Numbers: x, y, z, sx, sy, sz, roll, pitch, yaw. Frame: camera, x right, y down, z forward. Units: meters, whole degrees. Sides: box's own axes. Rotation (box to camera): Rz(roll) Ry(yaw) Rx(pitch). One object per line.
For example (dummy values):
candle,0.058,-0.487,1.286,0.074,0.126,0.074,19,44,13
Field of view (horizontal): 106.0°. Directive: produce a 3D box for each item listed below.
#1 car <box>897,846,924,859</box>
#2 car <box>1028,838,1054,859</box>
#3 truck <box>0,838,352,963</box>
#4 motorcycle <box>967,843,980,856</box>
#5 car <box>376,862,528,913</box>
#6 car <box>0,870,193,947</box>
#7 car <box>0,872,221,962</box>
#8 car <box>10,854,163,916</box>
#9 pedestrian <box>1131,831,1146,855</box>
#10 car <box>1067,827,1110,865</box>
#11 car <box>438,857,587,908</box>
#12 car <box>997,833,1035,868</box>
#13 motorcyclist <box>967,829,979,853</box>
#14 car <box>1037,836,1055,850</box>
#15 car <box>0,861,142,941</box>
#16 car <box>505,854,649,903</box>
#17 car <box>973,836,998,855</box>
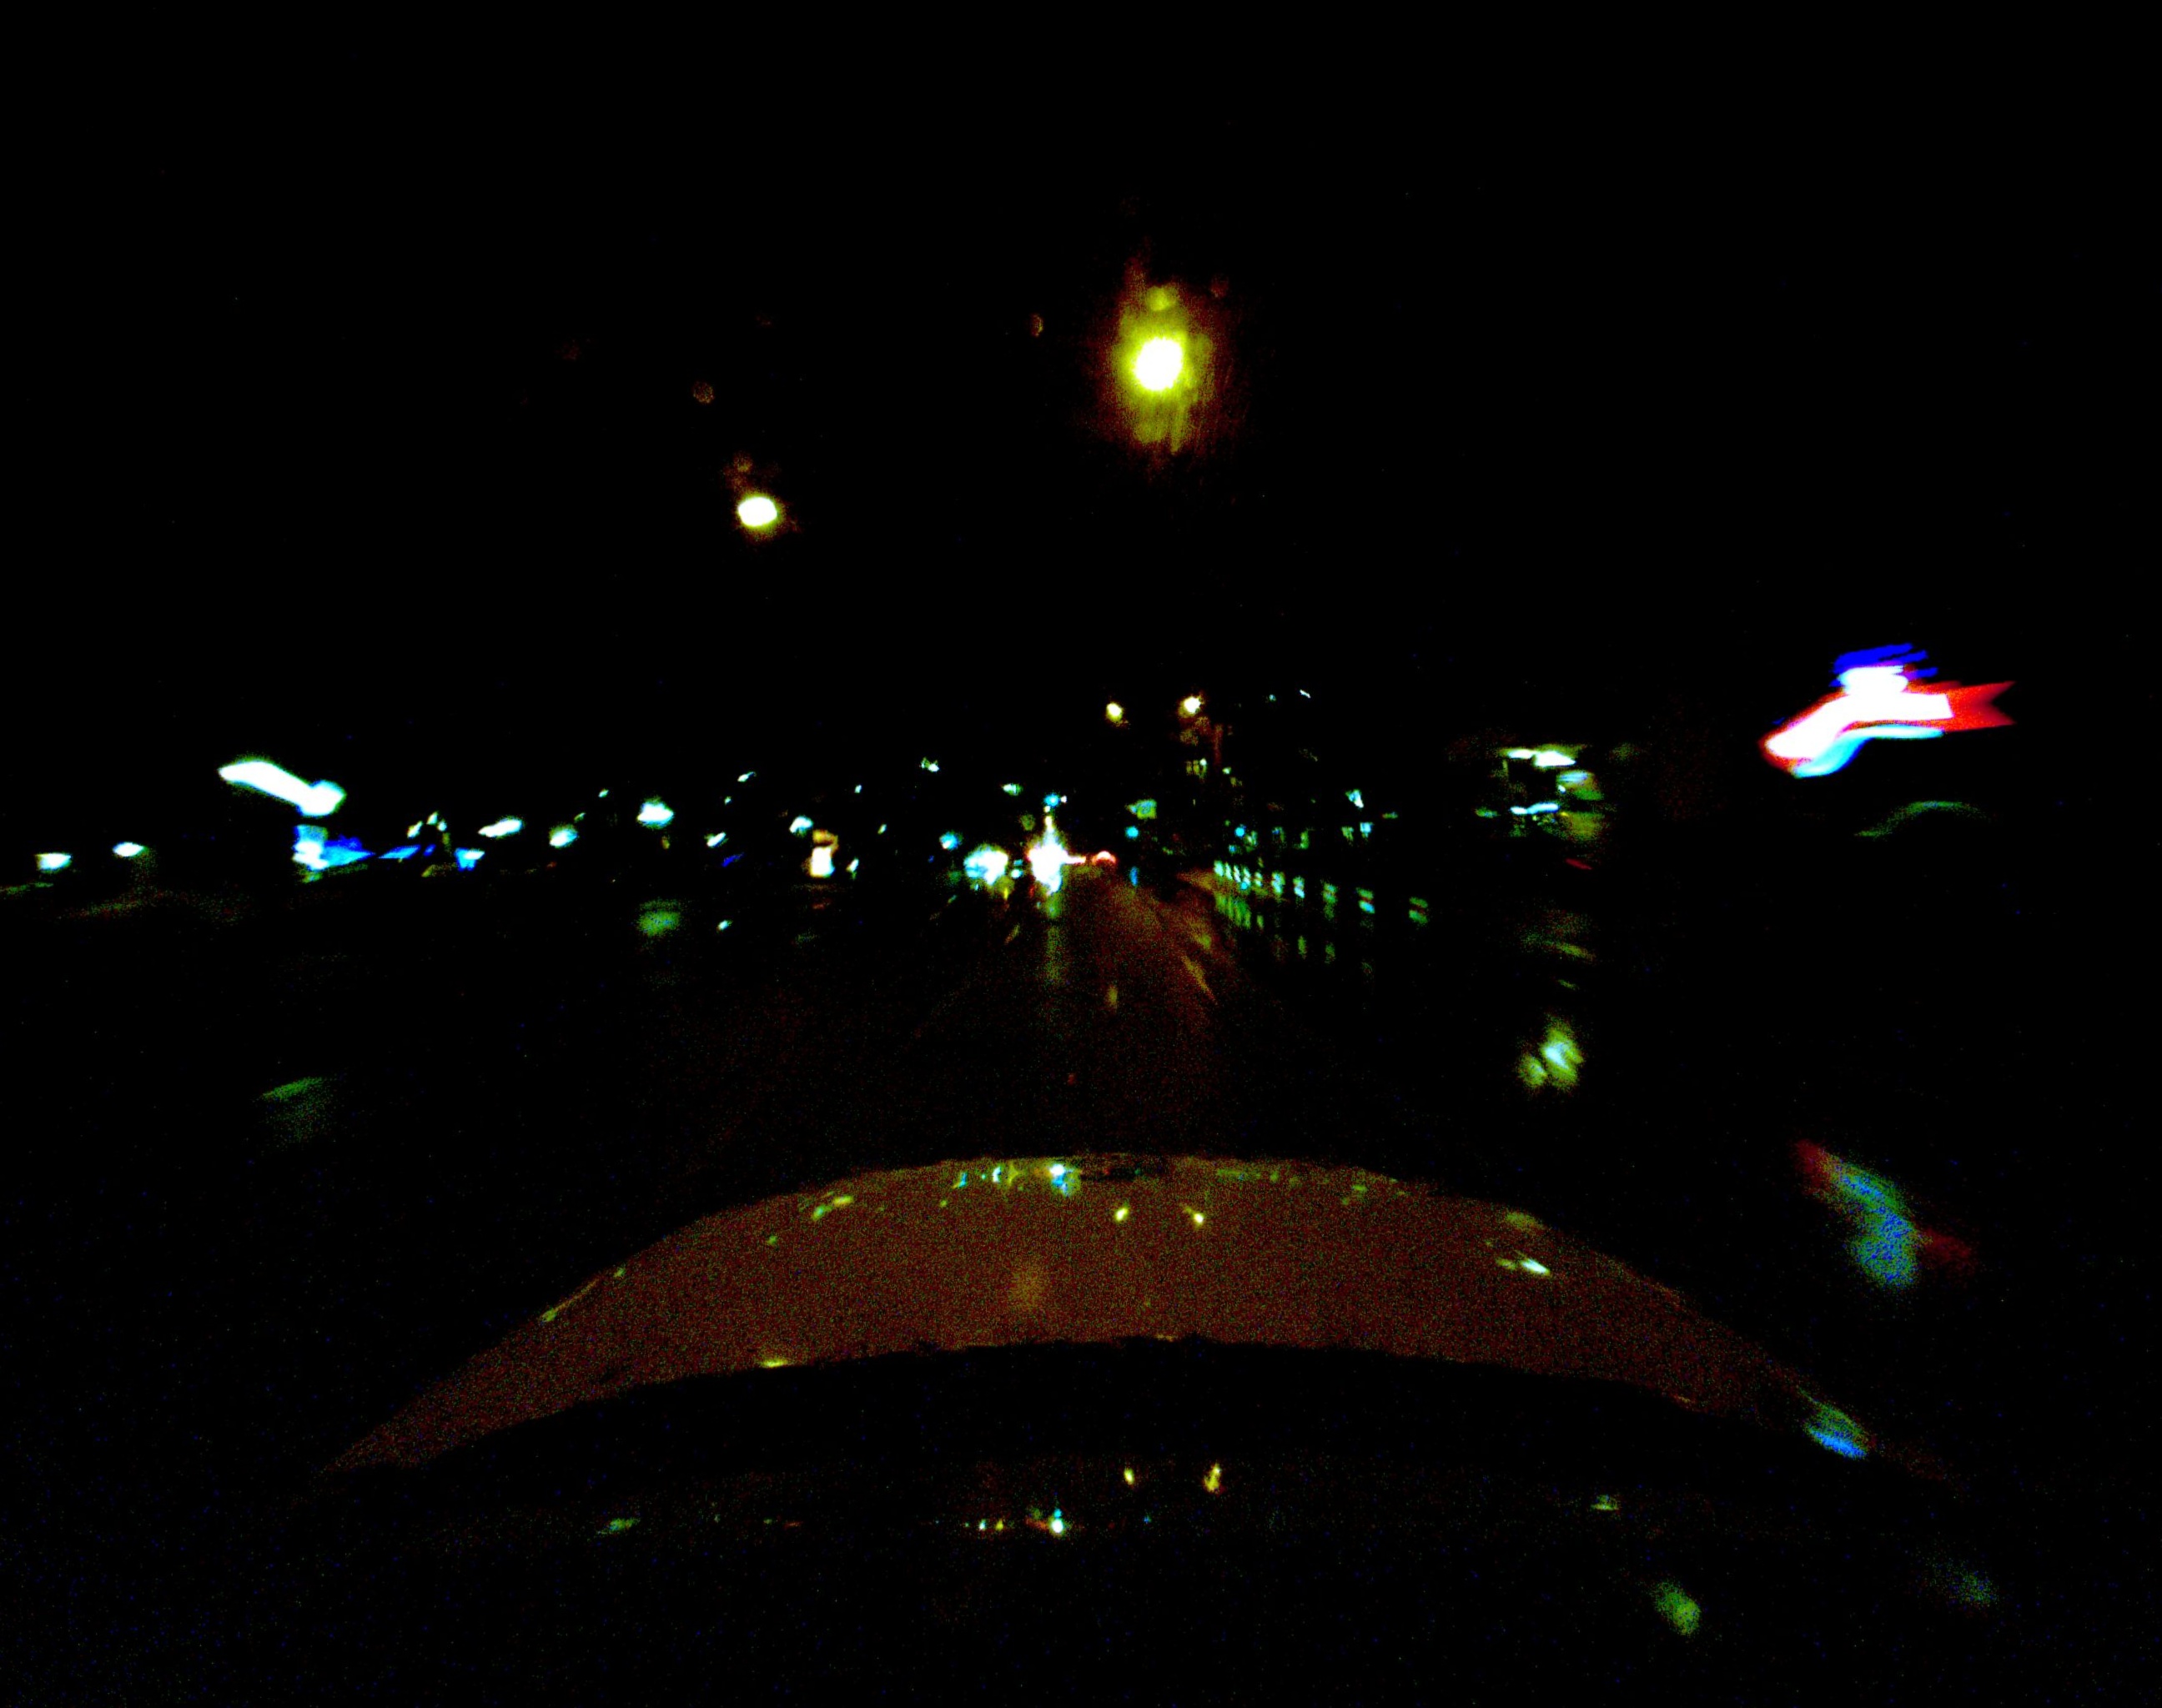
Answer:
car,-24.518,-0.232,117.128,1.682,1.700,4.217,-2,3,22
car,-3.150,-0.432,63.312,1.814,1.542,4.720,-3,1,-4
truck,-18.667,0.795,16.531,2.105,2.013,5.290,-2,2,20
motorcycle,-9.433,-0.403,71.455,0.698,1.138,2.178,-3,1,3
car,-22.384,1.137,29.171,1.699,1.520,3.940,-2,1,21
car,-24.257,1.272,18.880,1.848,1.540,4.518,-2,1,20
car,-21.733,1.322,17.163,1.848,1.613,4.518,-2,1,20
car,-48.982,1.464,40.255,1.699,2.730,4.378,-2,1,21
pedestrian,4.499,-0.869,63.724,1.102,1.825,0.852,-3,1,4
car,0.372,-0.475,46.765,2.163,1.972,4.298,-3,1,-3
car,-19.889,0.964,28.686,1.699,1.520,3.940,-2,1,21
car,-4.169,-0.288,53.185,2.028,1.953,5.197,-5,2,-1
motorcyclist,-9.482,-1.159,71.496,0.690,2.013,0.984,-3,1,3
car,-4.064,-1.266,93.638,1.705,1.542,3.979,-3,1,-7
car,-26.591,1.197,19.778,1.848,1.794,4.518,-2,1,20
car,-17.410,0.791,28.351,1.699,1.431,3.940,-2,1,21
car,-8.055,-0.760,69.194,1.849,1.499,4.763,-3,2,-4
